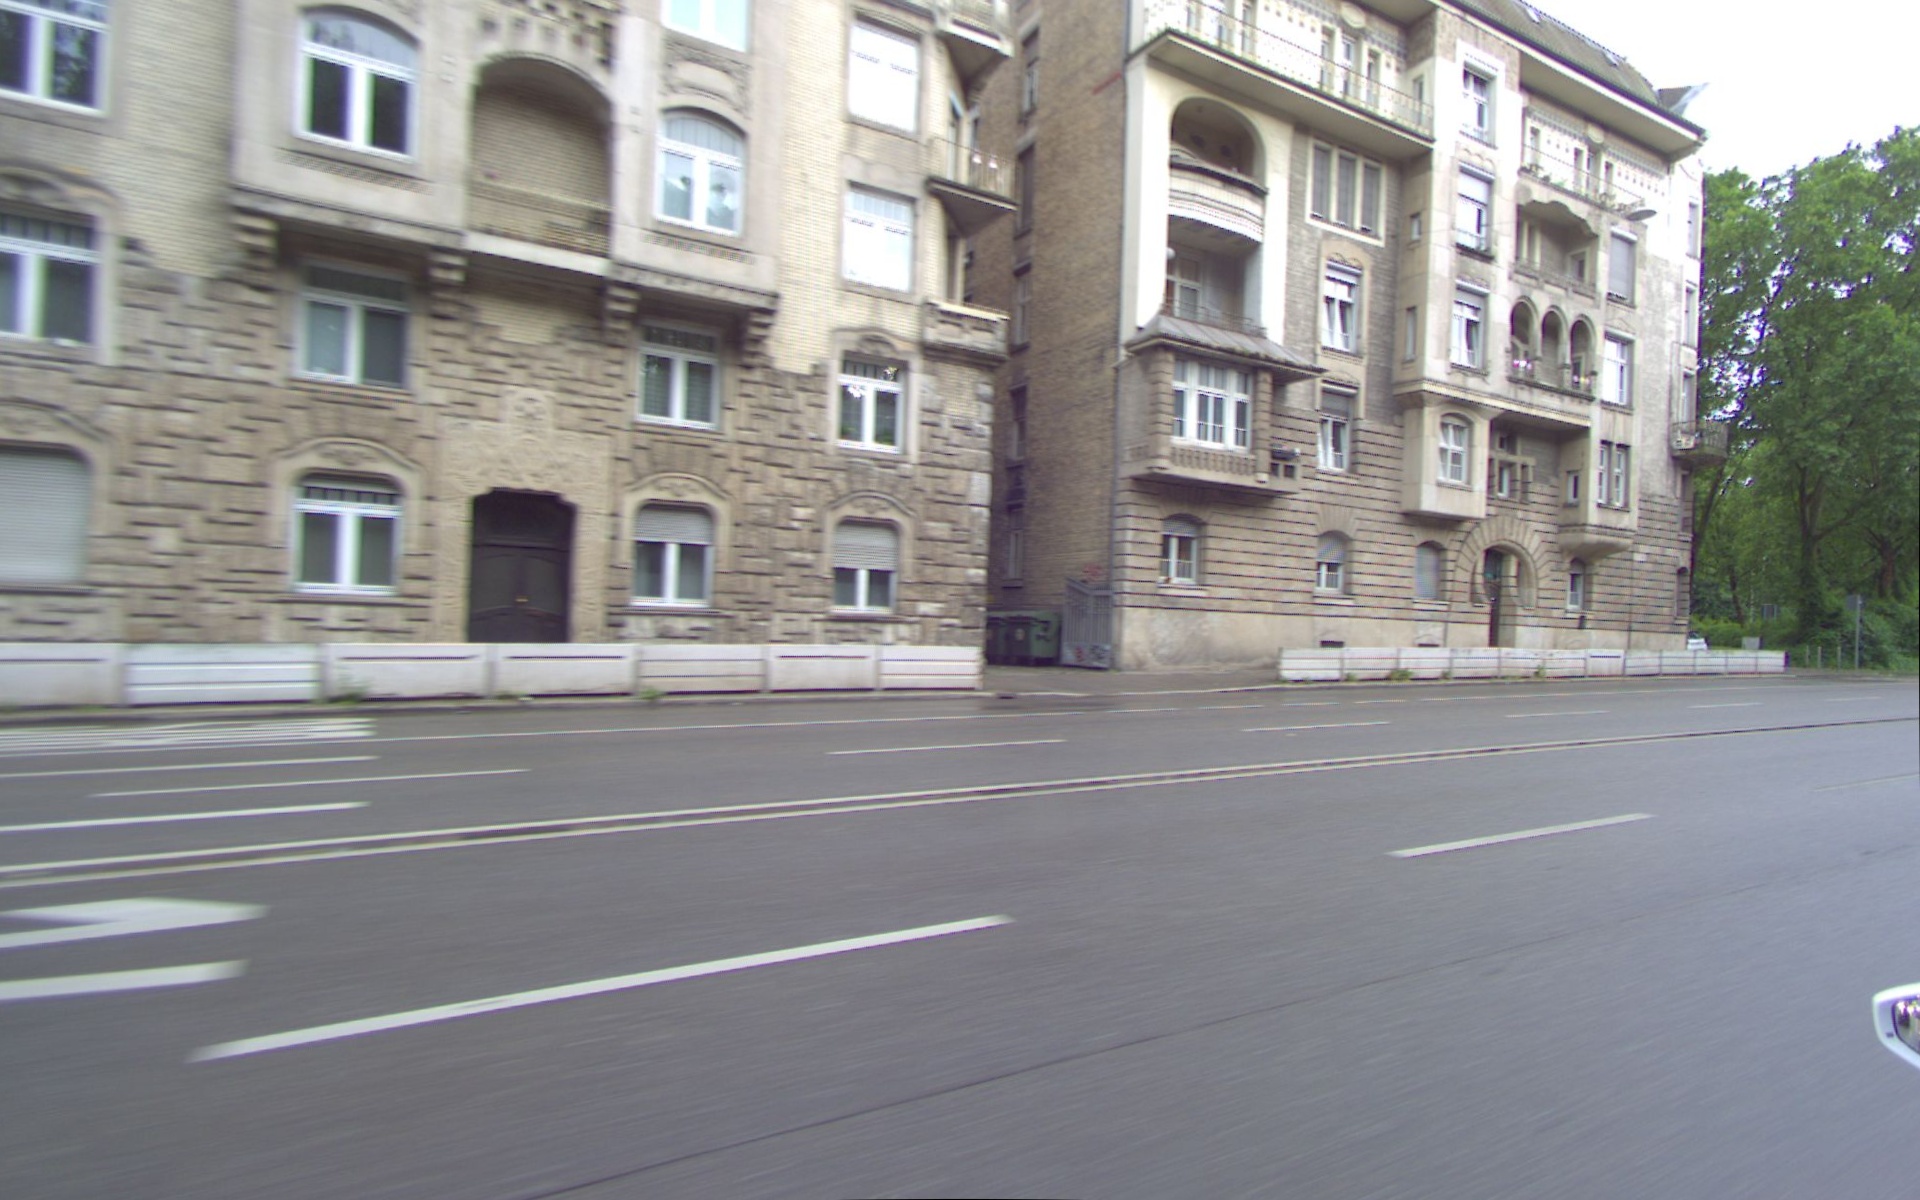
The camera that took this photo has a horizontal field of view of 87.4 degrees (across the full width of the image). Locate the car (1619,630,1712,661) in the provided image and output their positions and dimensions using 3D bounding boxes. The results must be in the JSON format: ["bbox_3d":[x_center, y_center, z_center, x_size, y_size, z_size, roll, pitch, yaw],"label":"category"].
[{"bbox_3d":[35.242,2.249,50.271,1.752,1.394,3.490,0,-1,-19],"label":"car"}]

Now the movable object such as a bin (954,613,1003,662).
[{"bbox_3d":[0.521,1.058,28.980,1.011,1.350,1.019,-1,0,-31],"label":"movable object such as a bin"}]

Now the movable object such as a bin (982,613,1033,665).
[{"bbox_3d":[1.300,1.058,27.662,1.011,1.350,1.019,-1,0,-31],"label":"movable object such as a bin"}]

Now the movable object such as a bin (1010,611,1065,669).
[{"bbox_3d":[2.031,1.018,26.325,1.011,1.454,1.019,-1,0,-31],"label":"movable object such as a bin"}]
